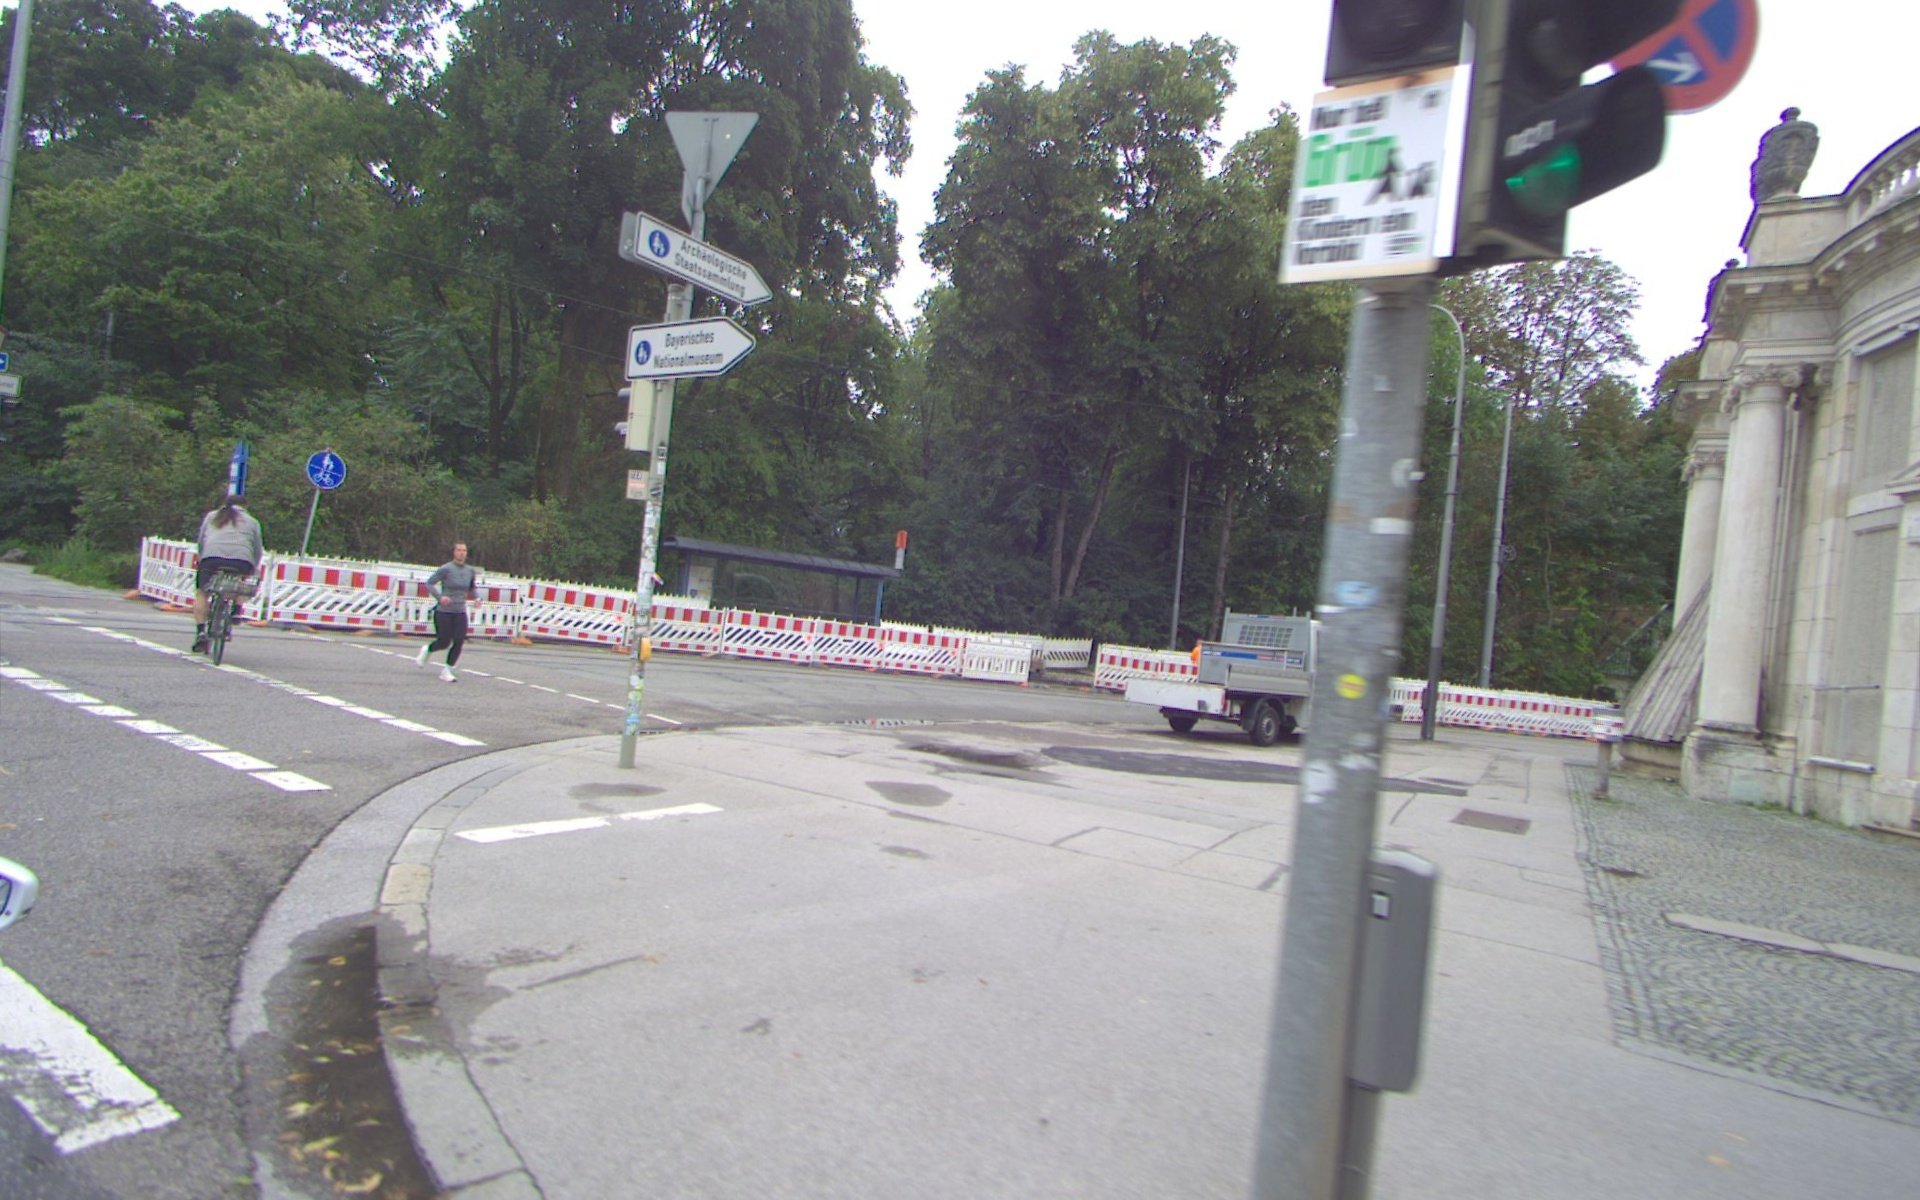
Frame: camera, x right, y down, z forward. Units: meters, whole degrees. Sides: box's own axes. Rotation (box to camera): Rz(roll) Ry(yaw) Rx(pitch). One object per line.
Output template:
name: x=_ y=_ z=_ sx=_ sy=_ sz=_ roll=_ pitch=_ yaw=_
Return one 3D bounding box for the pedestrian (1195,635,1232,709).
pedestrian: x=7.663 y=2.185 z=30.406 sx=0.683 sy=2.133 sz=0.558 roll=8 pitch=-2 yaw=-37

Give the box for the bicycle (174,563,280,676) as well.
bicycle: x=-8.177 y=0.180 z=11.181 sx=0.735 sy=1.069 sz=2.140 roll=9 pitch=-3 yaw=-39

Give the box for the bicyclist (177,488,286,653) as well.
bicyclist: x=-8.119 y=-0.313 z=11.202 sx=0.754 sy=1.686 sz=0.889 roll=8 pitch=-3 yaw=-40

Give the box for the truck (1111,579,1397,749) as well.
truck: x=5.729 y=1.299 z=19.037 sx=5.900 sy=2.522 sz=2.268 roll=10 pitch=-4 yaw=-42

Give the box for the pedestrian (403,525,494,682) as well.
pedestrian: x=-6.341 y=0.054 z=12.478 sx=0.765 sy=1.784 sz=1.061 roll=8 pitch=-2 yaw=-28

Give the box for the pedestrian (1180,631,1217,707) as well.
pedestrian: x=7.060 y=2.045 z=29.753 sx=0.683 sy=2.133 sz=0.557 roll=8 pitch=-2 yaw=-39
